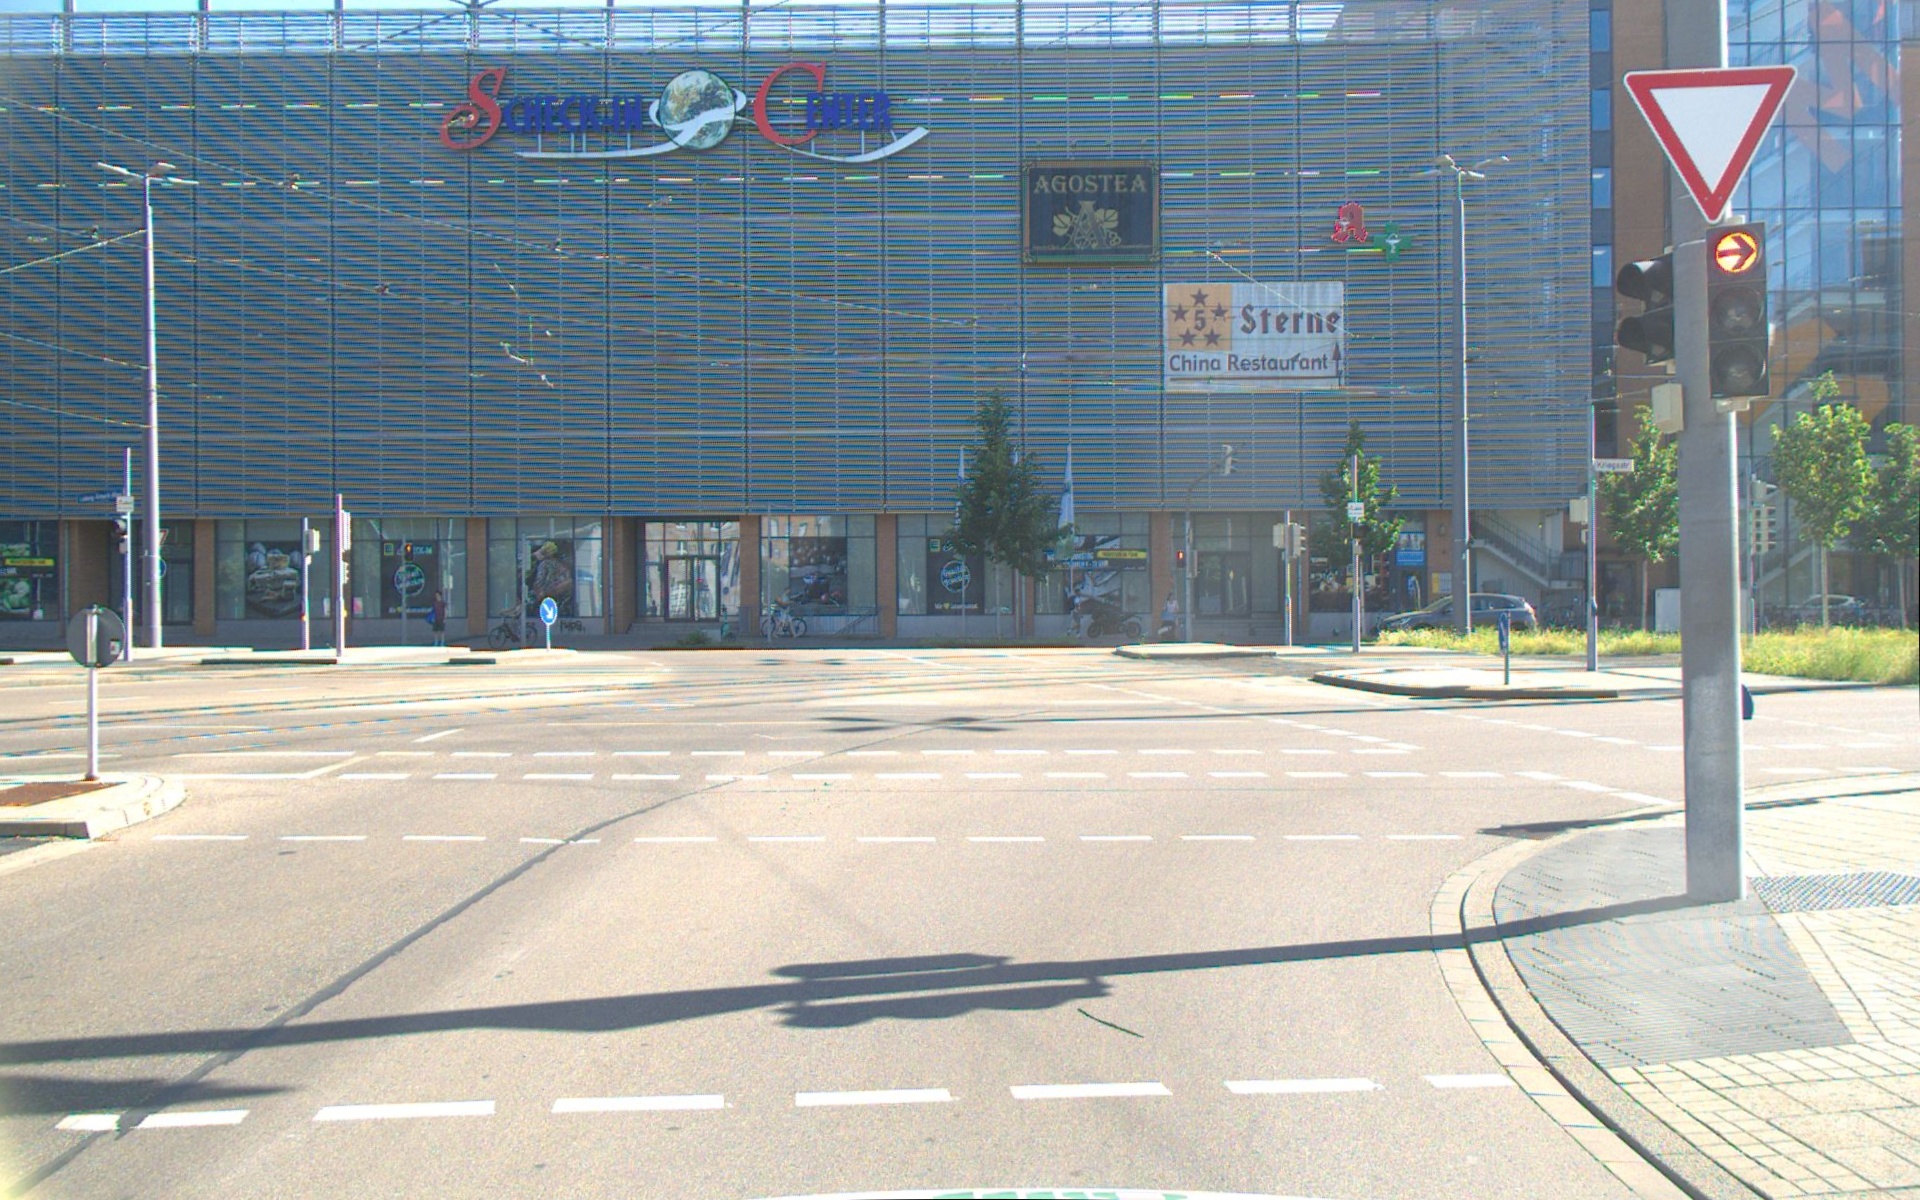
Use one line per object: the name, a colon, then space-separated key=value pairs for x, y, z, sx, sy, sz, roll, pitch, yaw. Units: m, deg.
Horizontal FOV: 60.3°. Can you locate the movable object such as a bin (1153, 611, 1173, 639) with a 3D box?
movable object such as a bin: x=6.743 y=0.833 z=54.897 sx=0.599 sy=0.920 sz=0.970 roll=1 pitch=0 yaw=10

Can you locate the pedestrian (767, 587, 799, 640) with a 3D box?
pedestrian: x=-6.358 y=0.481 z=59.425 sx=0.930 sy=1.860 sz=0.846 roll=-2 pitch=0 yaw=5

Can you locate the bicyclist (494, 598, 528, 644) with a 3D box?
bicyclist: x=-14.798 y=0.690 z=54.544 sx=0.663 sy=1.452 sz=0.844 roll=0 pitch=2 yaw=42

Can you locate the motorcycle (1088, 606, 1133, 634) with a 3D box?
motorcycle: x=5.530 y=0.730 z=60.708 sx=1.605 sy=1.022 sz=0.447 roll=1 pitch=0 yaw=6

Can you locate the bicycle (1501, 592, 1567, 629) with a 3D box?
bicycle: x=21.290 y=0.394 z=61.352 sx=2.209 sy=1.318 sz=0.605 roll=1 pitch=-1 yaw=-2

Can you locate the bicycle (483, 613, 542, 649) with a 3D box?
bicycle: x=-14.766 y=1.007 z=54.619 sx=0.559 sy=1.105 sz=1.852 roll=0 pitch=2 yaw=42

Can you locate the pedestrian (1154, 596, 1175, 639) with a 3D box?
pedestrian: x=6.858 y=0.579 z=55.364 sx=0.641 sy=1.438 sz=0.850 roll=1 pitch=0 yaw=10

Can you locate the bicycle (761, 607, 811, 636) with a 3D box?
bicycle: x=-6.364 y=0.780 z=60.433 sx=1.783 sy=1.006 sz=0.556 roll=0 pitch=1 yaw=-11

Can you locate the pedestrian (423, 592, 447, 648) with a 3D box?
pedestrian: x=-17.337 y=0.662 z=54.668 sx=0.683 sy=1.829 sz=0.727 roll=-2 pitch=0 yaw=-17

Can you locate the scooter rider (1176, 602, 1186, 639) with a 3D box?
scooter rider: x=7.361 y=0.669 z=55.131 sx=0.282 sy=1.221 sz=0.386 roll=1 pitch=-1 yaw=10

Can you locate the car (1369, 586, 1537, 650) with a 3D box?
car: x=13.671 y=0.498 z=46.047 sx=4.063 sy=1.495 sz=1.840 roll=3 pitch=-1 yaw=-2

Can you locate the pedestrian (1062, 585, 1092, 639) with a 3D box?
pedestrian: x=4.169 y=0.422 z=59.135 sx=0.991 sy=1.860 sz=1.036 roll=-2 pitch=0 yaw=3

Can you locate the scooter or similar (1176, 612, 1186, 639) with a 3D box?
scooter or similar: x=7.367 y=0.835 z=55.190 sx=0.288 sy=0.888 sz=1.004 roll=1 pitch=0 yaw=10

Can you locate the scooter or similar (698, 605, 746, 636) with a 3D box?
scooter or similar: x=-8.745 y=0.748 z=60.780 sx=1.759 sy=1.085 sz=0.611 roll=0 pitch=1 yaw=-9

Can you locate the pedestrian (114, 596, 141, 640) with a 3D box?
pedestrian: x=-31.078 y=0.673 z=61.739 sx=0.646 sy=1.629 sz=0.594 roll=1 pitch=-1 yaw=18
